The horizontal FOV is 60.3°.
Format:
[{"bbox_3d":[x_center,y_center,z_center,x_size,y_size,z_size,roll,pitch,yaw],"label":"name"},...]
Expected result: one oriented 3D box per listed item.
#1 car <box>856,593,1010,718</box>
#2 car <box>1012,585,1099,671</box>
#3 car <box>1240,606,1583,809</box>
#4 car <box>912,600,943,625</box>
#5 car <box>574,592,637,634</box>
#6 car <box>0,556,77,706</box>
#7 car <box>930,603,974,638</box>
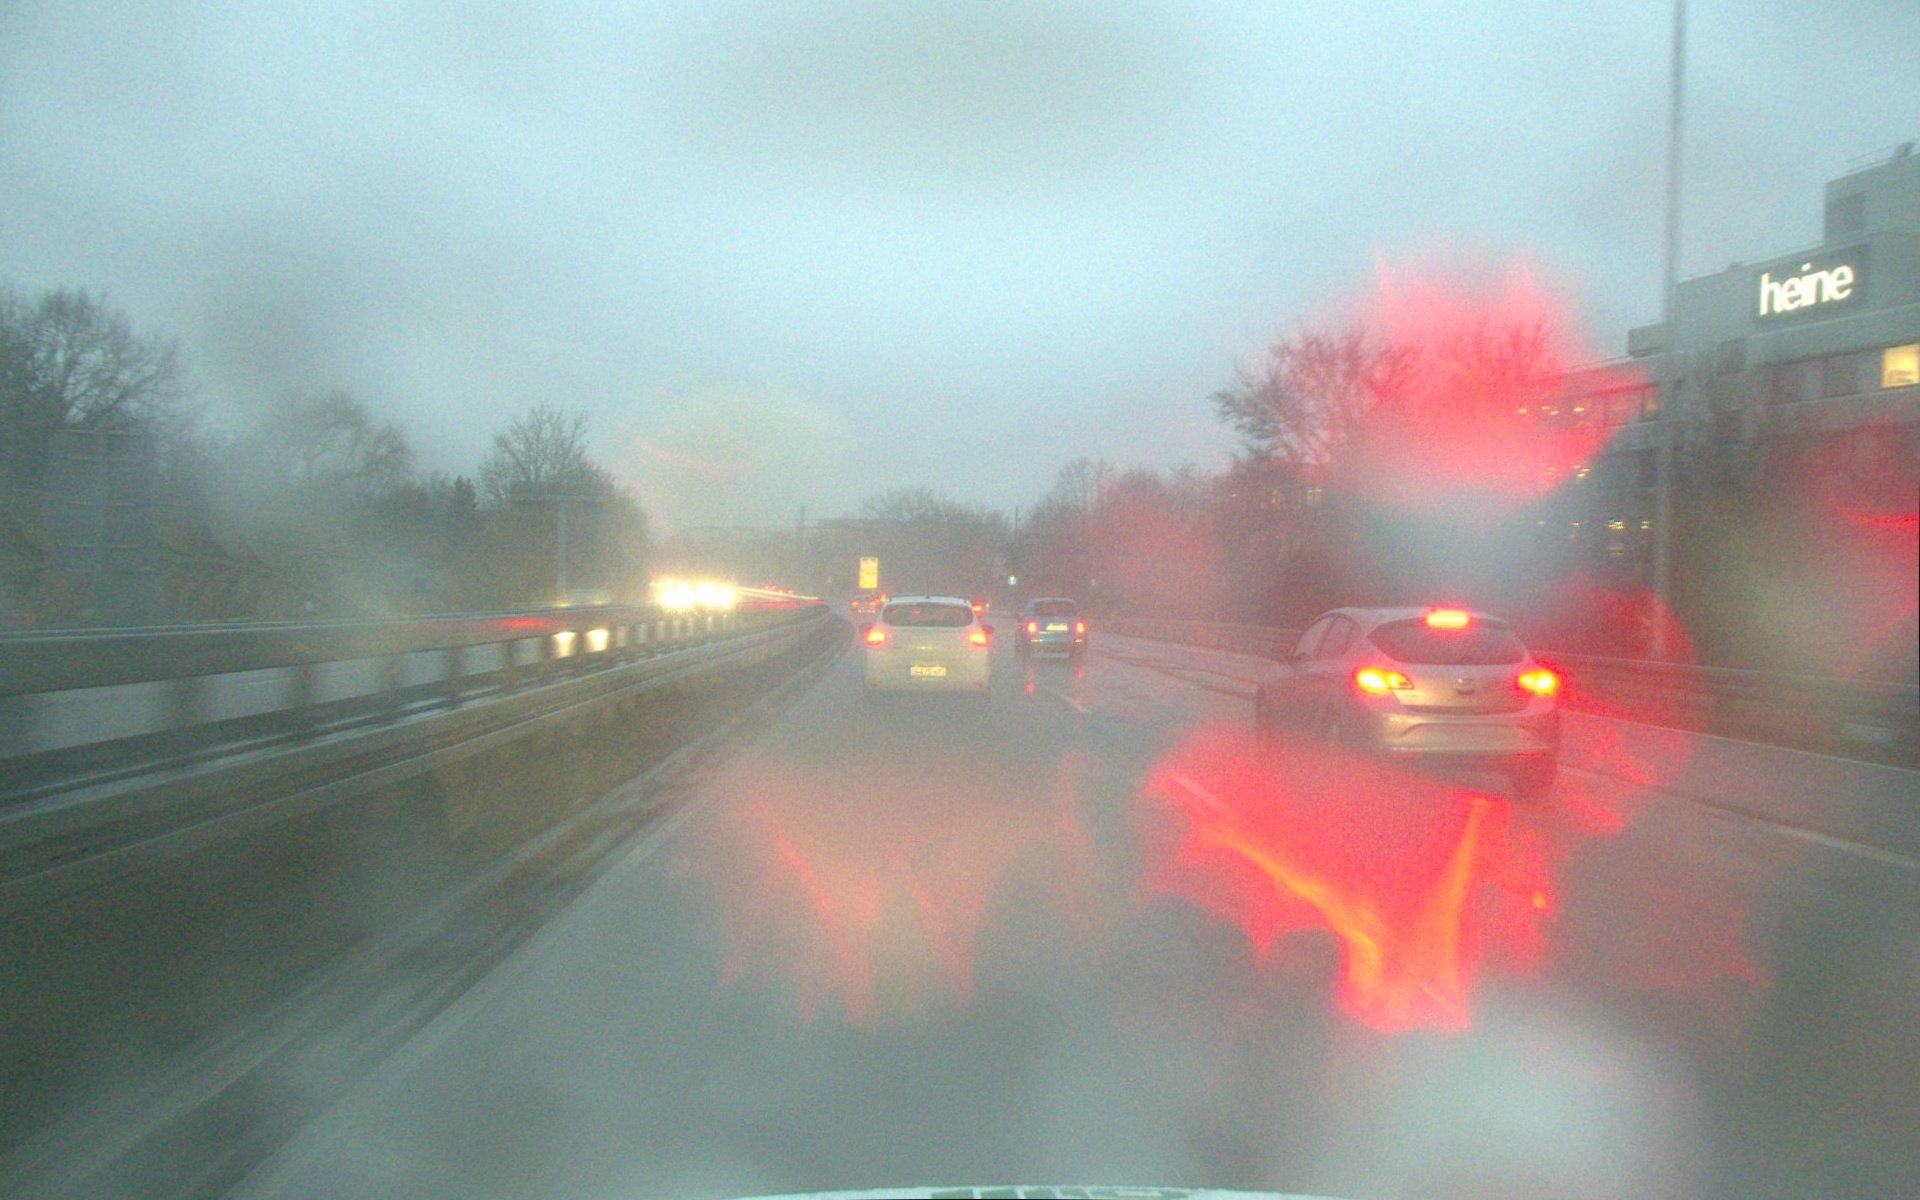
[{"bbox_3d":[-0.464,0.728,23.656,1.984,1.602,3.997,1,0,-3],"label":"car"},{"bbox_3d":[2.356,0.676,41.754,1.893,2.055,3.772,1,0,-1],"label":"car"},{"bbox_3d":[3.857,0.839,14.924,1.812,1.528,4.261,1,0,-2],"label":"car"},{"bbox_3d":[-2.140,0.782,107.039,1.894,1.573,3.772,1,0,-2],"label":"car"},{"bbox_3d":[-13.040,0.480,60.993,1.663,1.466,3.679,1,0,-3],"label":"car"},{"bbox_3d":[-11.450,0.322,17.361,1.828,1.656,4.778,1,0,-1],"label":"car"},{"bbox_3d":[-0.436,1.010,83.850,1.895,1.573,3.771,-5,0,-3],"label":"car"}]
